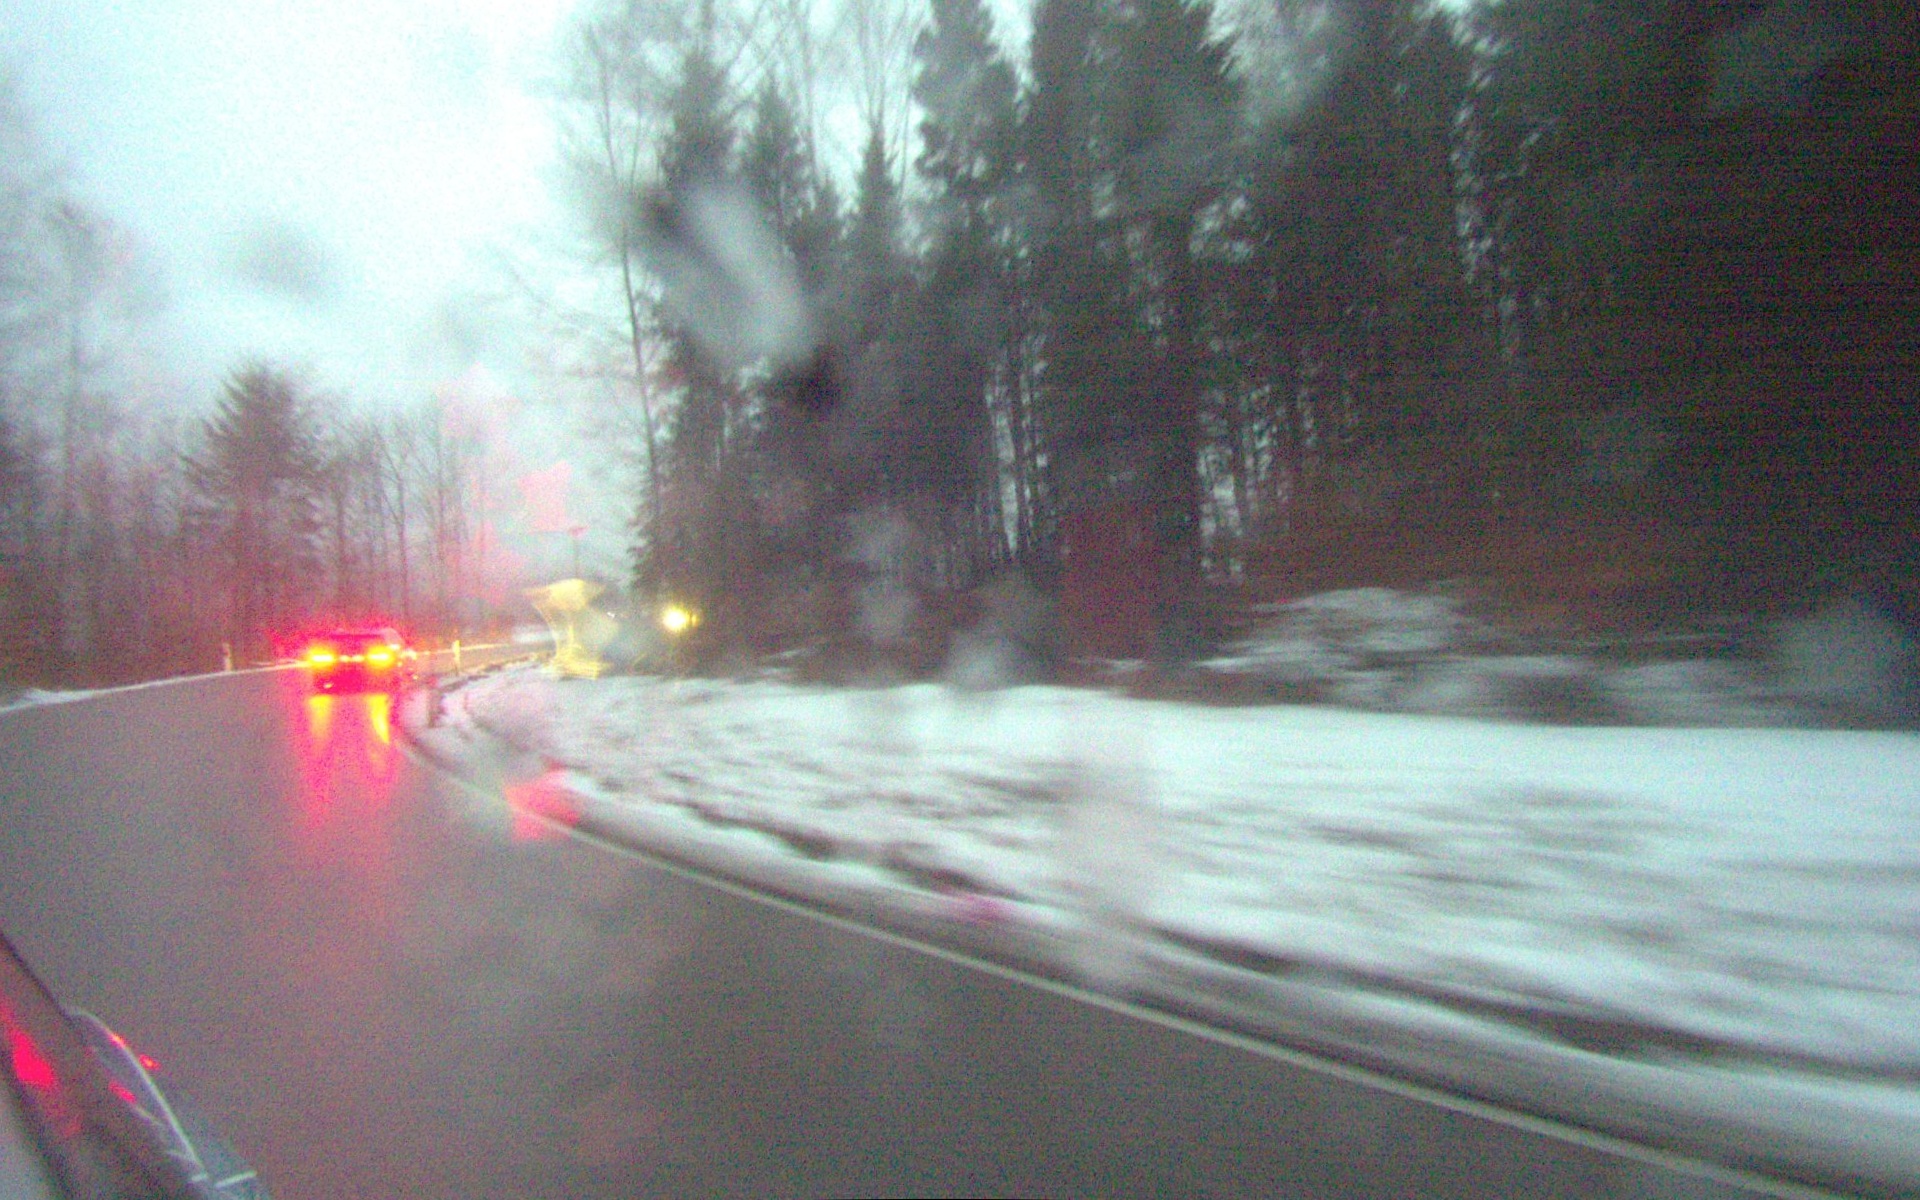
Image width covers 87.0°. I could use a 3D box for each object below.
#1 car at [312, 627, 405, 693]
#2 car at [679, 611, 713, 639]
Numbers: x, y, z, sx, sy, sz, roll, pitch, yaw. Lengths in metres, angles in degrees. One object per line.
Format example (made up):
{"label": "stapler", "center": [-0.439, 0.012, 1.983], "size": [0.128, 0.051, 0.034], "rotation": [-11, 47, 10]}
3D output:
{"label": "car", "center": [-15.241, 1.487, 25.827], "size": [1.749, 1.504, 4.563], "rotation": [1, -3, -27]}
{"label": "car", "center": [-23.341, 2.191, 89.612], "size": [1.971, 2.028, 4.003], "rotation": [-6, 2, -3]}
